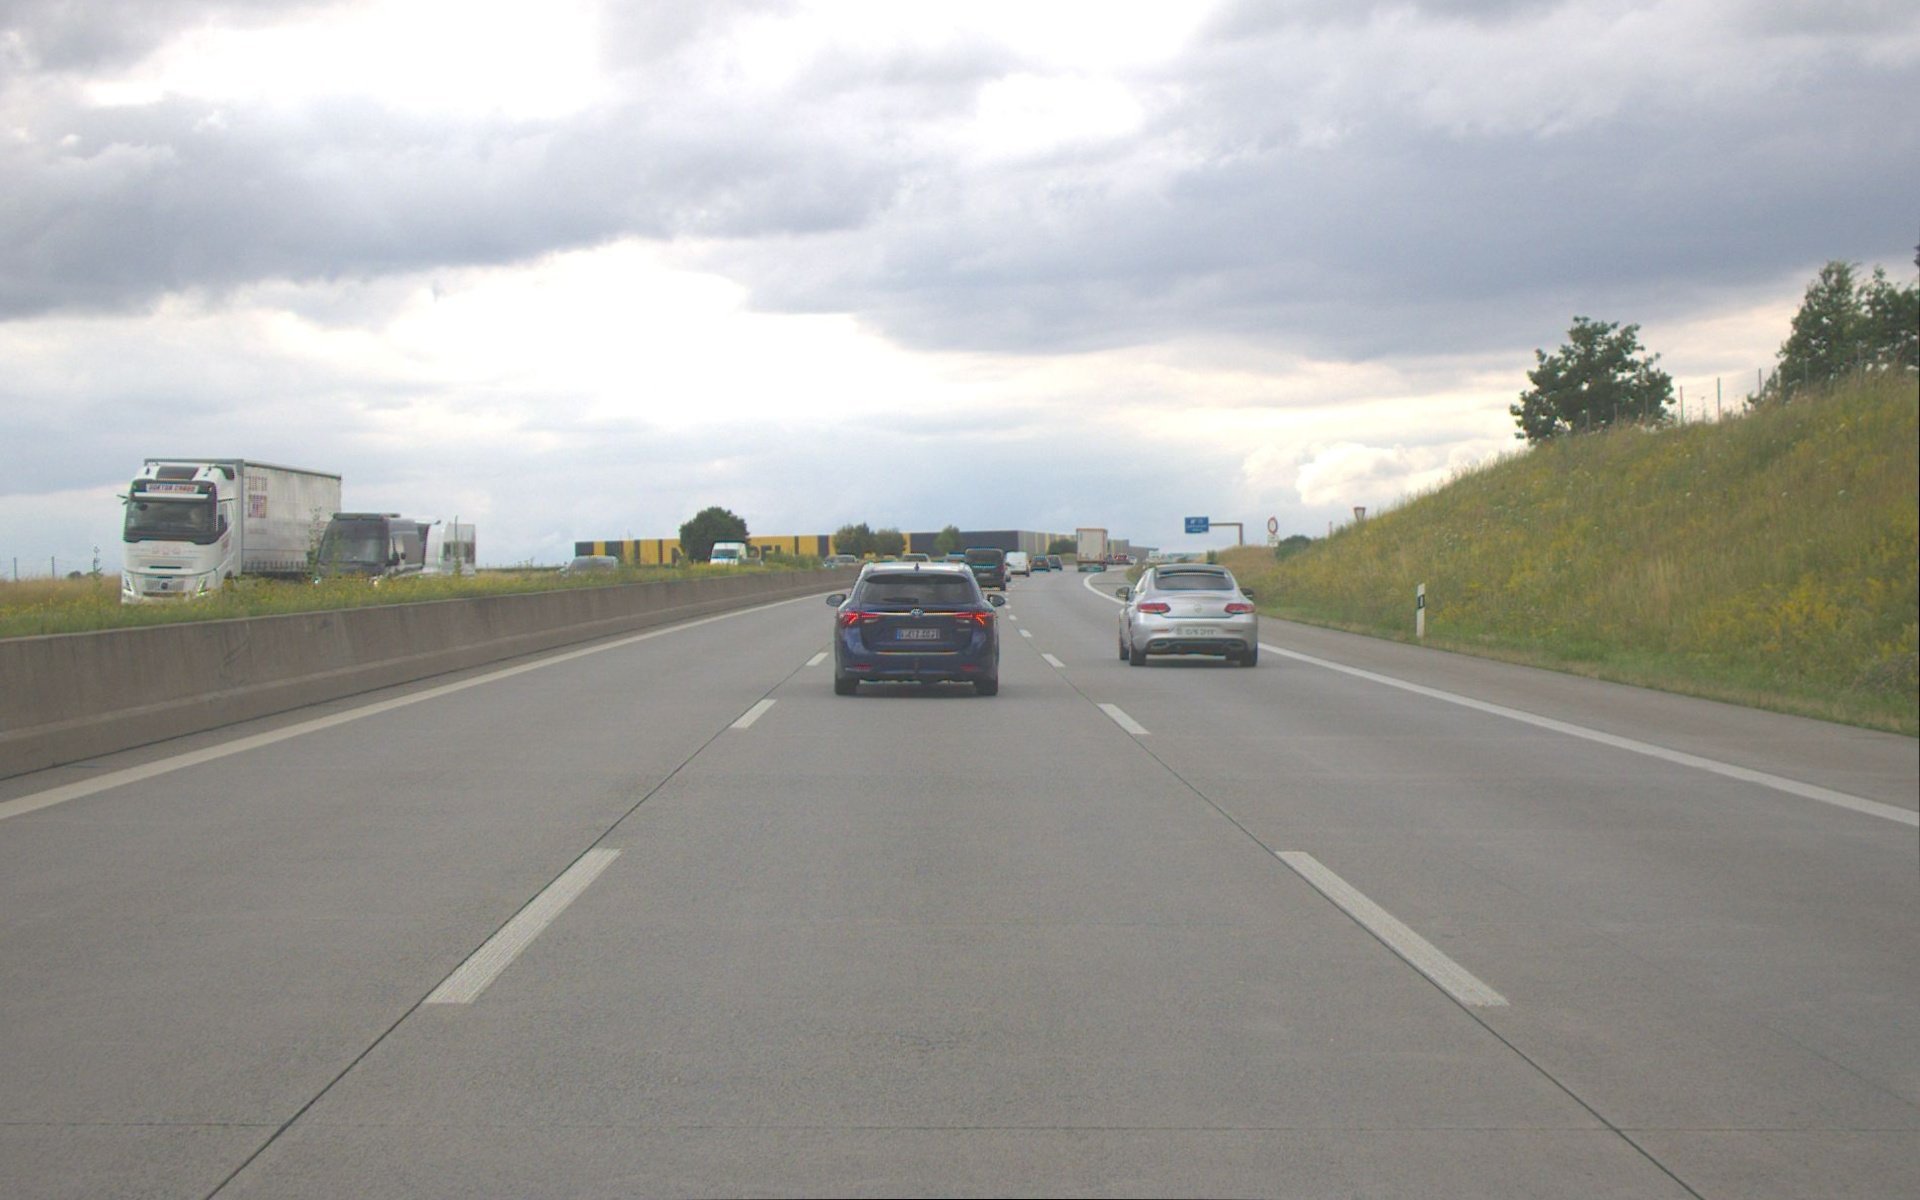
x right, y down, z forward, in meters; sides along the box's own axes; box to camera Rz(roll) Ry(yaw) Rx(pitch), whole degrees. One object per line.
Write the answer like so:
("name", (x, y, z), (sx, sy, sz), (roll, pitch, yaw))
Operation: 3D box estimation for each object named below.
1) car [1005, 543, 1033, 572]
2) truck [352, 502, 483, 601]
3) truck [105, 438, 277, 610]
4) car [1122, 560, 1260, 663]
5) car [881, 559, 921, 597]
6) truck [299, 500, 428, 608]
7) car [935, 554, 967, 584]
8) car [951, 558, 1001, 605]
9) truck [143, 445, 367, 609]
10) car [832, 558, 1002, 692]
("car", (4.303, -3.110, 250.923), (1.993, 2.007, 4.000), (1, 0, 2))
("truck", (-15.561, -1.386, 99.064), (2.615, 2.716, 6.919), (1, 1, 0))
("truck", (-19.771, -1.895, 88.714), (2.841, 4.241, 6.091), (1, 0, 2))
("car", (3.248, 0.147, 48.992), (1.789, 1.399, 4.221), (0, 0, 2))
("car", (-3.156, -1.161, 183.791), (2.046, 2.007, 4.000), (1, 0, -1))
("truck", (-15.731, -1.229, 91.060), (2.251, 2.716, 7.127), (1, 1, -1))
("car", (-0.654, -2.164, 241.264), (1.993, 2.007, 4.000), (1, 0, -3))
("car", (0.686, -0.810, 152.272), (1.993, 2.007, 4.000), (1, 0, -3))
("truck", (-19.541, -1.887, 96.449), (2.841, 4.241, 14.566), (1, 0, 2))
("car", (-0.456, 0.251, 38.129), (1.774, 1.408, 4.000), (0, 0, 0))
